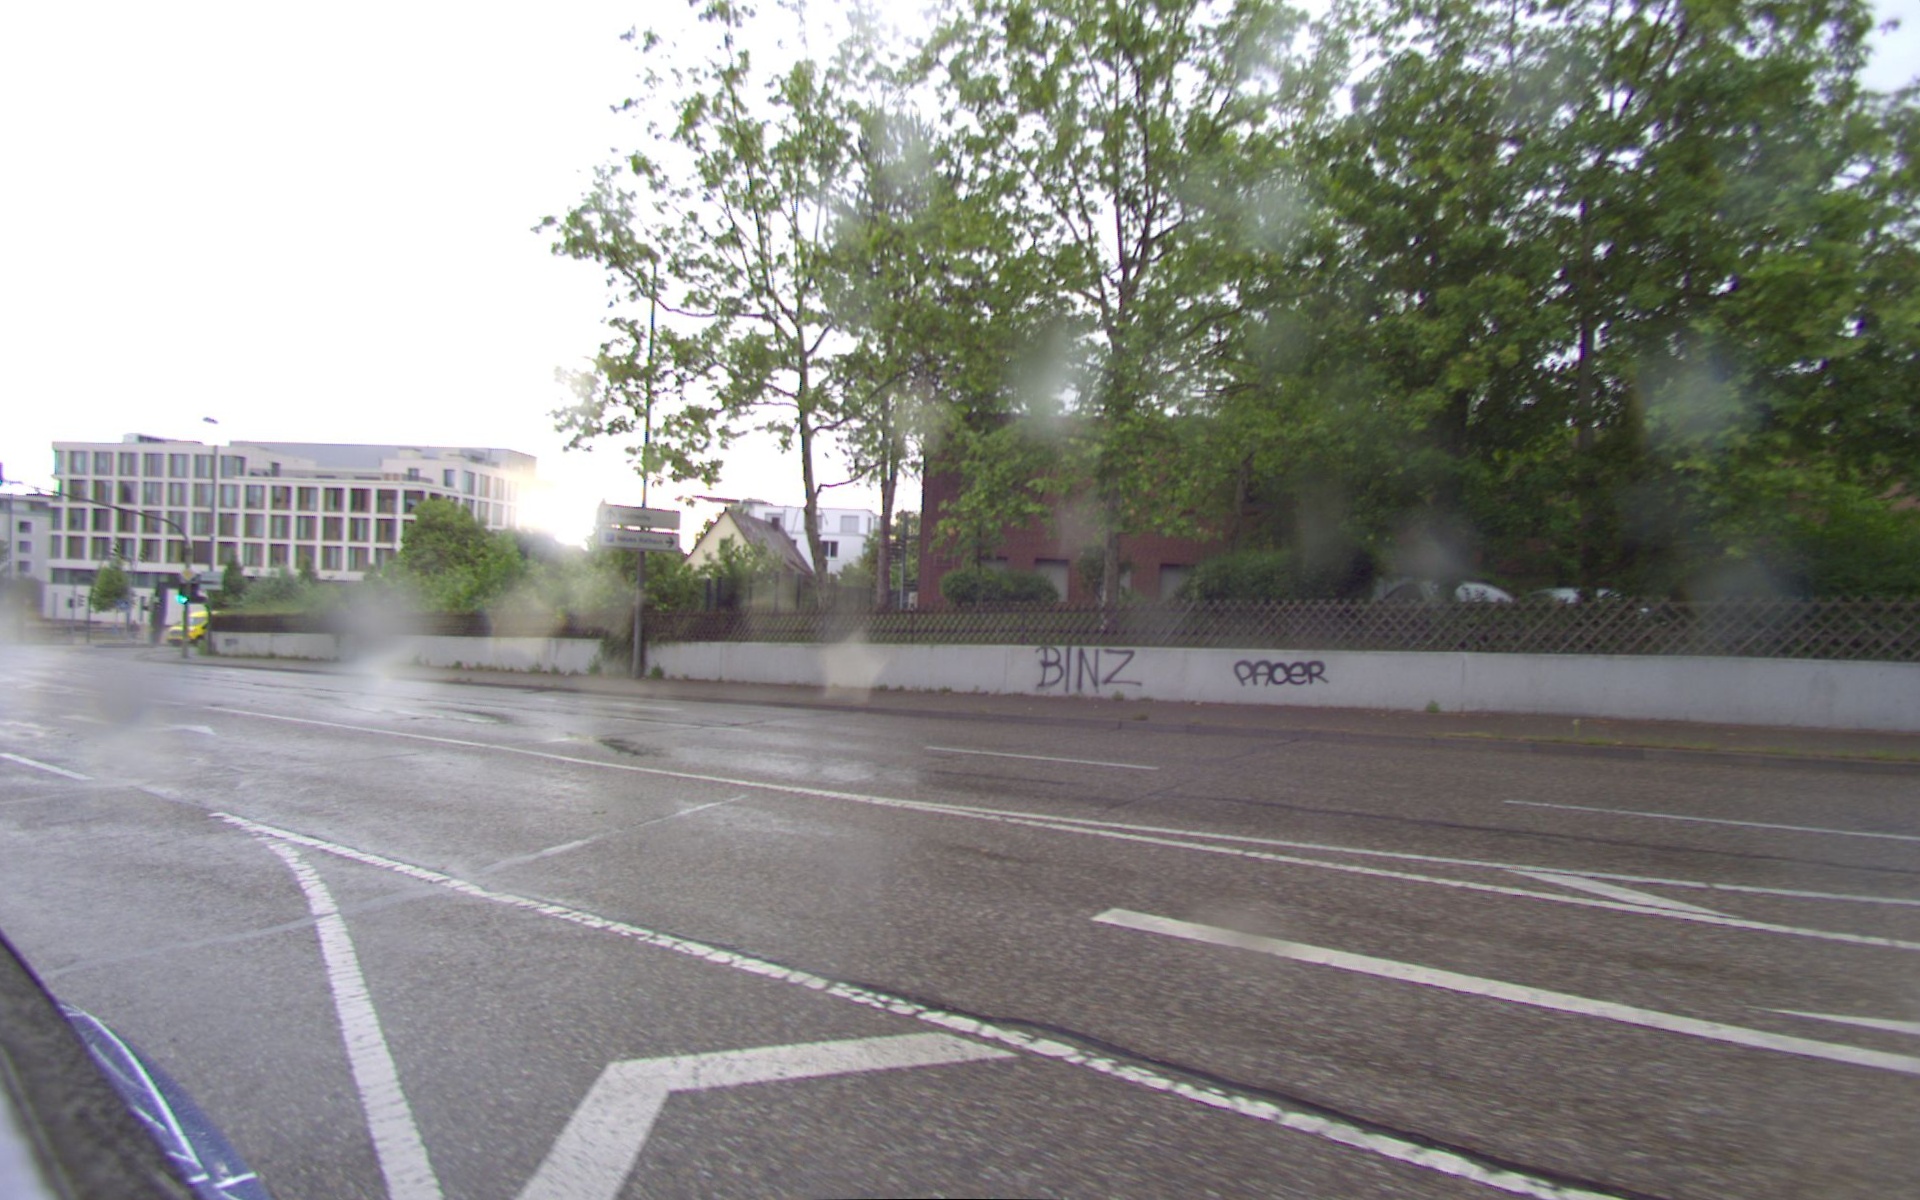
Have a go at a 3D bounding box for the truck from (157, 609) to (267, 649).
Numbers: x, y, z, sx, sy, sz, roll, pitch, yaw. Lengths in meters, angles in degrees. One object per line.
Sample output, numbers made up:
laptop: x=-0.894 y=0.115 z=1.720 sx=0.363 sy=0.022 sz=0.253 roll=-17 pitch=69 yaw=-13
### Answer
truck: x=-51.344 y=2.052 z=69.680 sx=2.205 sy=2.557 sz=6.152 roll=1 pitch=-2 yaw=12
